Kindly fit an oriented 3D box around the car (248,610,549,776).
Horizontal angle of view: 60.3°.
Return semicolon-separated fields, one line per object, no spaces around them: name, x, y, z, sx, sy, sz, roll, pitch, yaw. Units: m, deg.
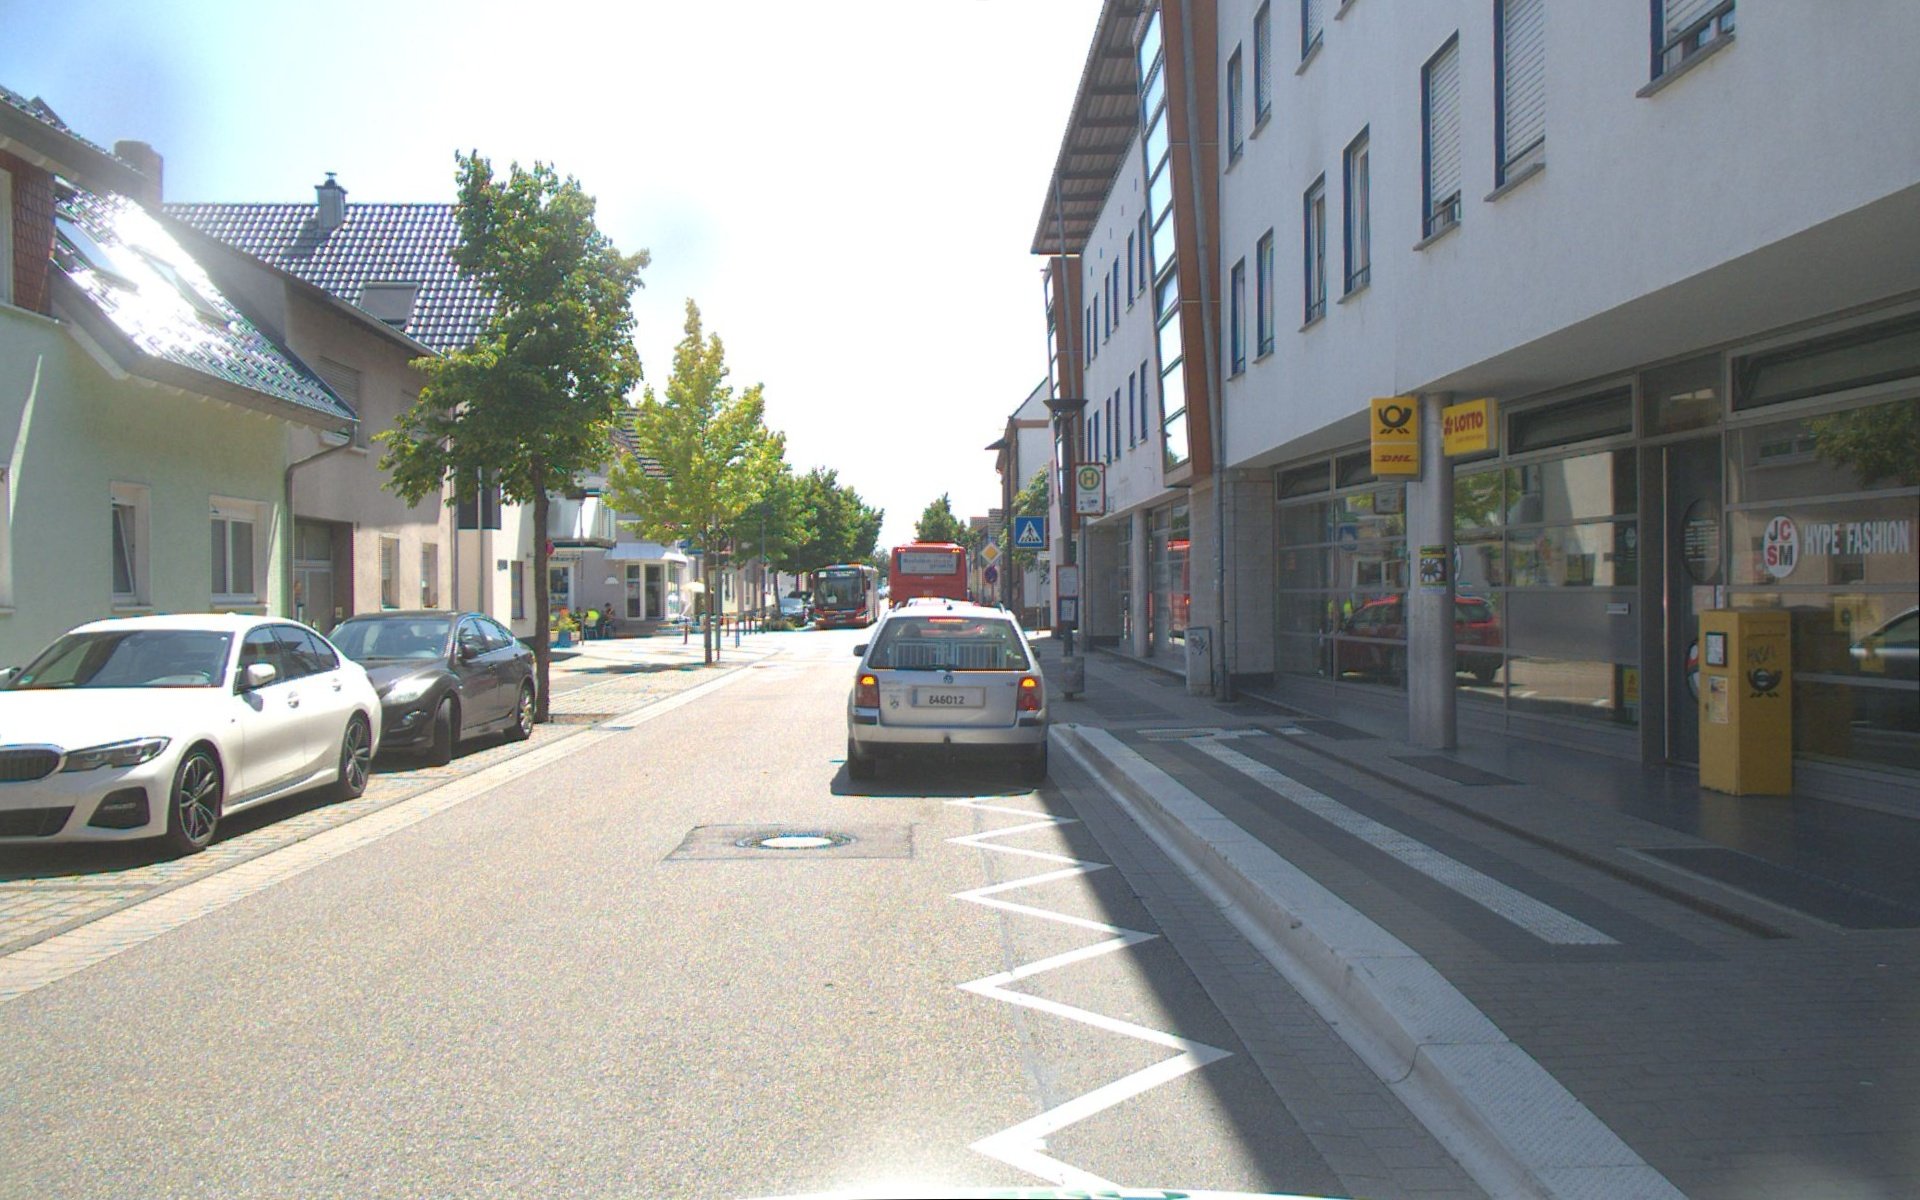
car;-5.617;0.847;17.158;1.627;1.462;4.537;0;0;-1

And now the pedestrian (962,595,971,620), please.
pedestrian;0.436;0.530;116.124;0.594;1.696;0.789;0;0;-3

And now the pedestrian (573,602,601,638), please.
pedestrian;-13.767;0.739;61.022;0.776;1.311;0.631;1;-1;45

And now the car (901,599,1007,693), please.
car;-0.145;0.733;27.963;1.643;1.455;3.678;1;0;-2

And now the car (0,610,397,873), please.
car;-5.493;0.811;11.578;1.685;1.462;4.458;0;0;-2

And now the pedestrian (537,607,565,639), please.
pedestrian;-14.894;0.843;60.238;0.776;1.135;0.631;1;-1;45

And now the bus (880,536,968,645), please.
bus;-1.423;-0.265;57.764;2.685;3.356;12.697;0;0;-3

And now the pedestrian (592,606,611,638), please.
pedestrian;-13.445;0.813;62.087;0.610;1.199;0.696;0;0;-6

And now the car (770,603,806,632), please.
car;-8.964;0.886;86.208;1.573;1.463;4.063;0;0;-2

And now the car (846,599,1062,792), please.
car;-0.098;0.753;14.801;1.643;1.455;3.678;2;0;-2

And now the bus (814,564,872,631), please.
bus;-6.045;-0.166;87.688;2.615;3.178;17.797;0;0;-3

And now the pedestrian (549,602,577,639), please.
pedestrian;-14.699;0.752;61.243;0.776;1.311;0.631;1;-1;45

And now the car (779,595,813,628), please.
car;-9.670;0.658;97.915;1.729;1.870;3.787;0;0;-2

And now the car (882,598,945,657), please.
car;-1.193;0.696;43.351;1.561;1.455;3.679;1;0;-1
